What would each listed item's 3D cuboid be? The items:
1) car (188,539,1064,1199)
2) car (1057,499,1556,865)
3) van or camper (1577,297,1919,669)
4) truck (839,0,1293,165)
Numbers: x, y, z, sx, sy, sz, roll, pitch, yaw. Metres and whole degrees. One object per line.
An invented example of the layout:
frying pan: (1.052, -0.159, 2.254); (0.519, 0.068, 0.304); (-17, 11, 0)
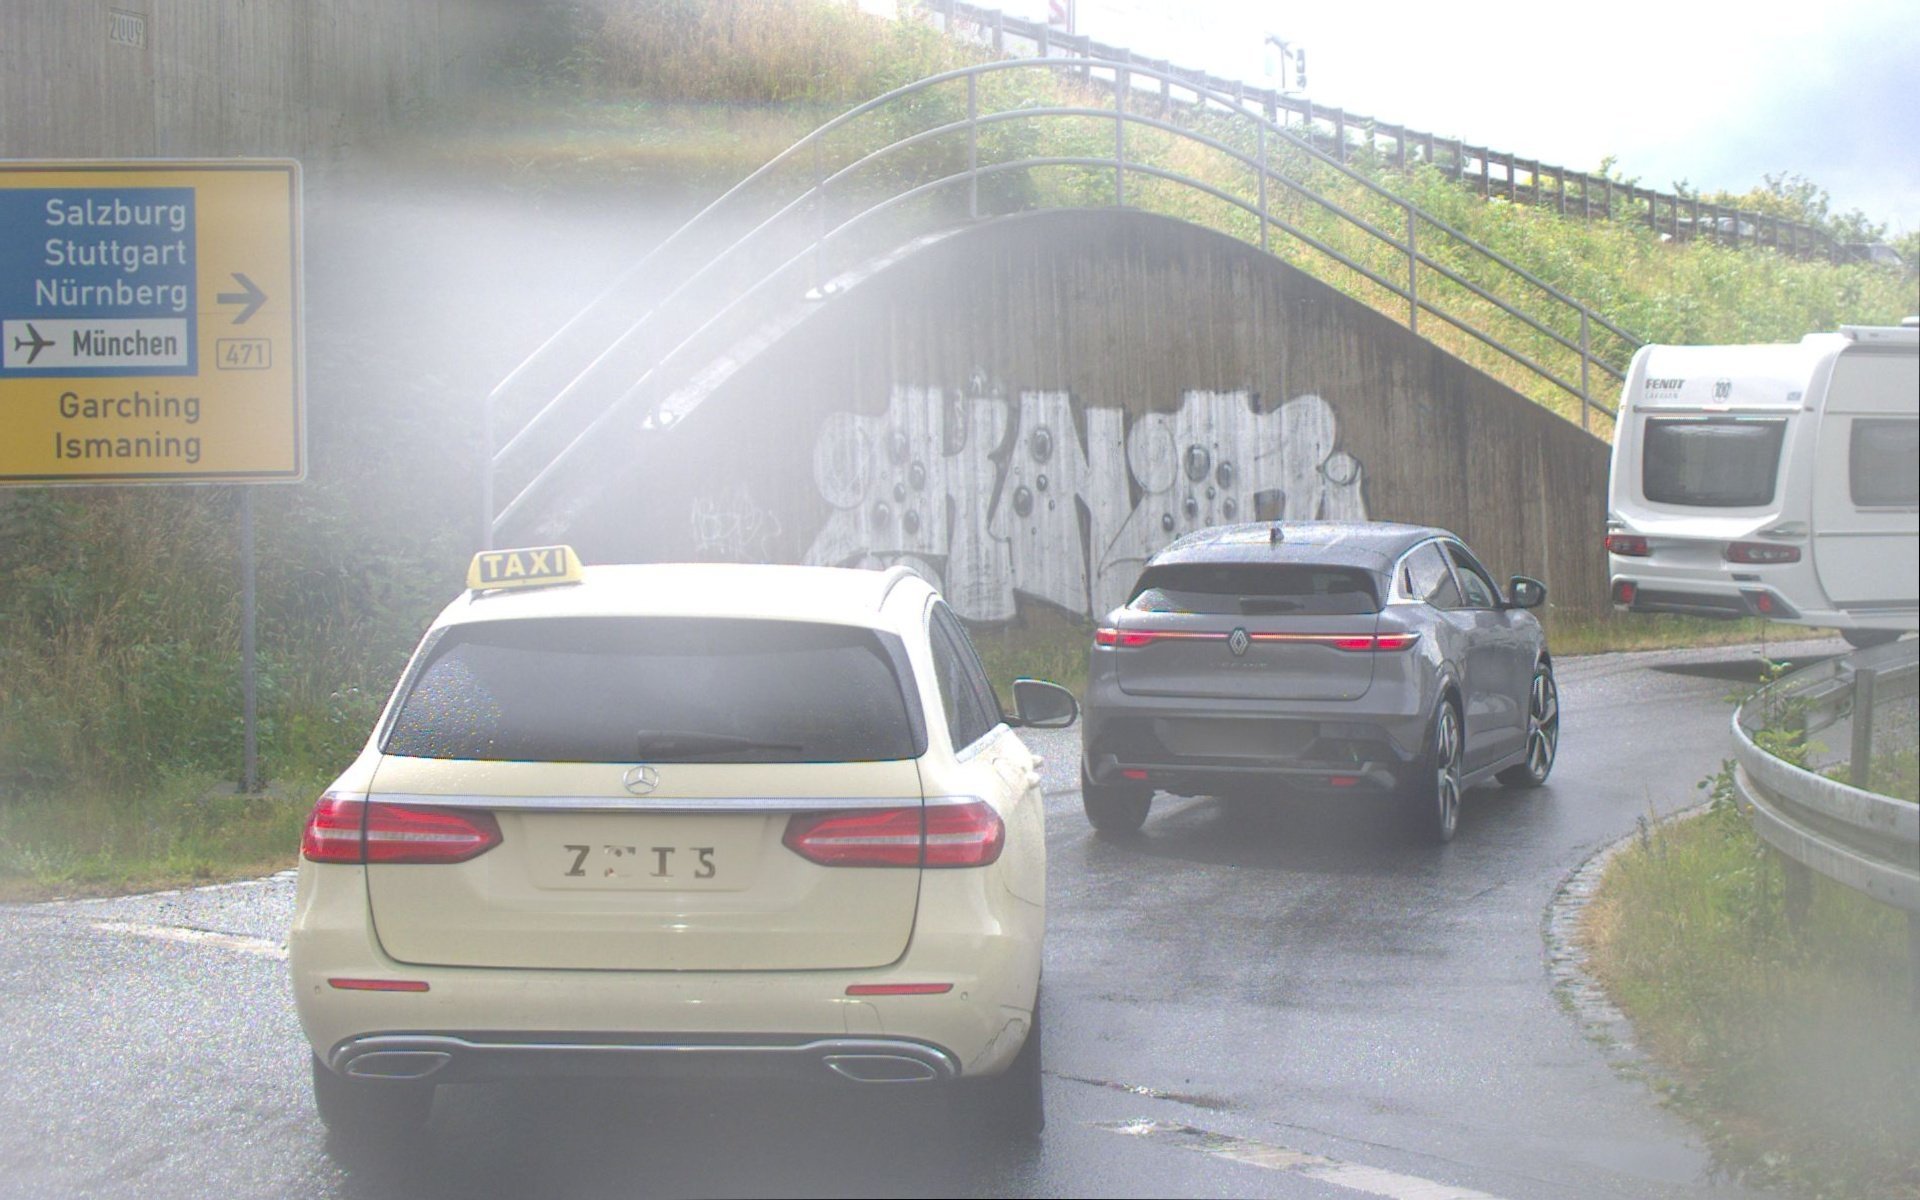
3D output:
car: (-0.672, 0.585, 9.886); (1.916, 1.502, 4.596); (0, 1, 2)
car: (1.889, 0.308, 17.596); (1.719, 1.519, 3.997); (1, 3, 18)
van or camper: (8.104, -0.997, 27.733); (5.981, 2.720, 2.439); (-2, 4, -30)
truck: (1.808, -8.947, 50.907); (3.185, 3.952, 9.224); (1, 1, 26)
